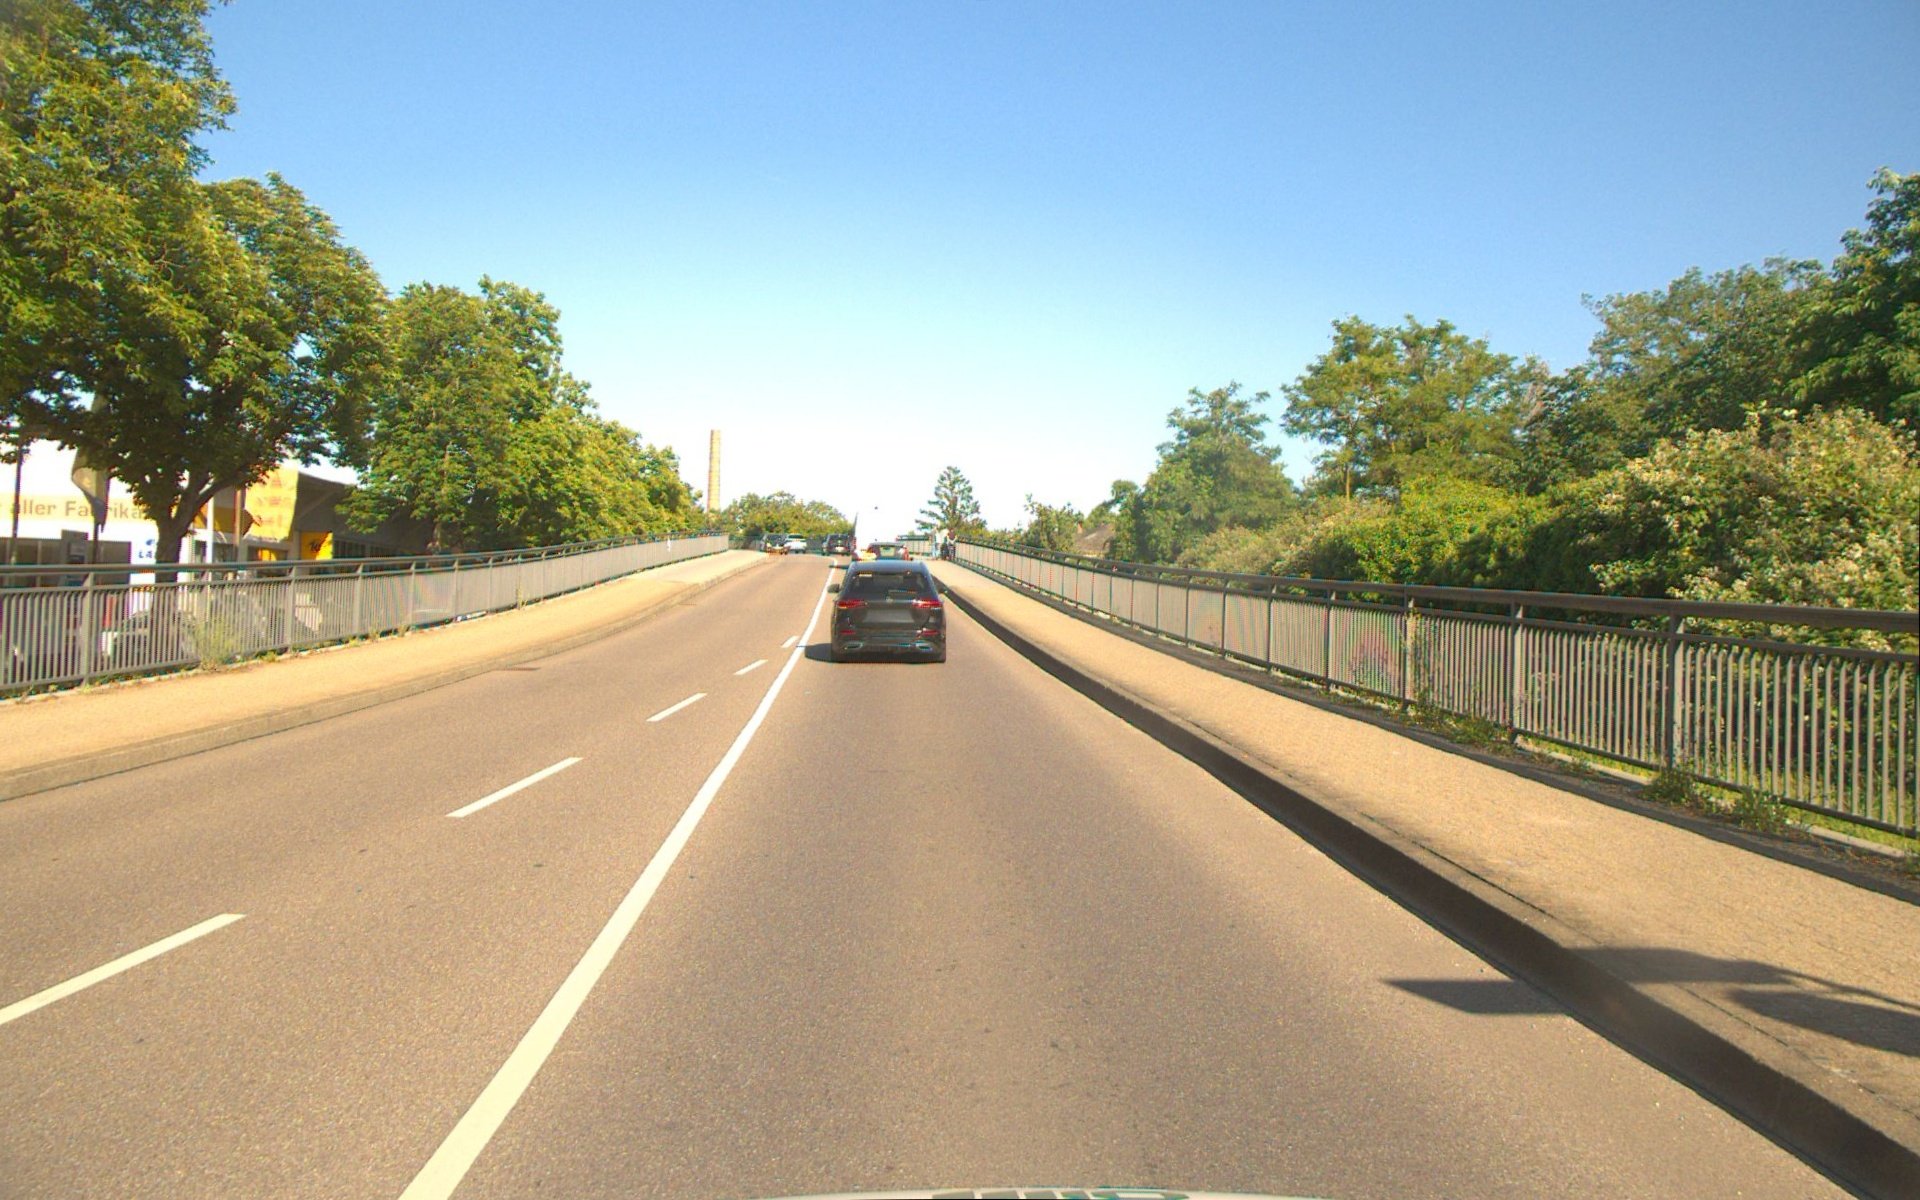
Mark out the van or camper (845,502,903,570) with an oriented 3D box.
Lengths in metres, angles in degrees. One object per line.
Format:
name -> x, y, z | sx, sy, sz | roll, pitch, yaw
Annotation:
van or camper -> -3.951, -2.811, 74.817 | 2.183, 2.787, 7.071 | 2, 0, -6

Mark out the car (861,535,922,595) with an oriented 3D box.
car -> -2.124, -1.076, 52.279 | 1.768, 1.669, 3.999 | 2, -1, -1

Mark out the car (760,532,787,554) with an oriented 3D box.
car -> -13.225, -4.058, 117.594 | 1.735, 1.500, 3.987 | 0, 2, -4

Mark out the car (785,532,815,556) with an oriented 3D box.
car -> -12.728, -4.445, 131.933 | 1.952, 1.709, 4.000 | 0, -1, 0

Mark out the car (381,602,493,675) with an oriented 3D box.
car -> -15.609, 1.114, 49.585 | 1.883, 2.026, 4.258 | 2, 0, 1

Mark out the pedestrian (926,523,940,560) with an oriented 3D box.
pedestrian -> -1.351, -2.933, 83.095 | 0.590, 1.780, 0.716 | 2, 0, -4

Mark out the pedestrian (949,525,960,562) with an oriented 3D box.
pedestrian -> -0.294, -2.821, 82.823 | 0.462, 1.780, 0.653 | 2, 0, -4

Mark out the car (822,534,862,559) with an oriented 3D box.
car -> -8.166, -3.681, 114.587 | 1.877, 1.515, 4.273 | 0, -1, 8

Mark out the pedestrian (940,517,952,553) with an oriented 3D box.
pedestrian -> -0.704, -3.306, 83.735 | 0.538, 1.780, 0.738 | 2, 0, -4

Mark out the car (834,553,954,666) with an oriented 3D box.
car -> -1.074, 0.083, 26.174 | 1.734, 1.620, 3.987 | 1, 2, -3
